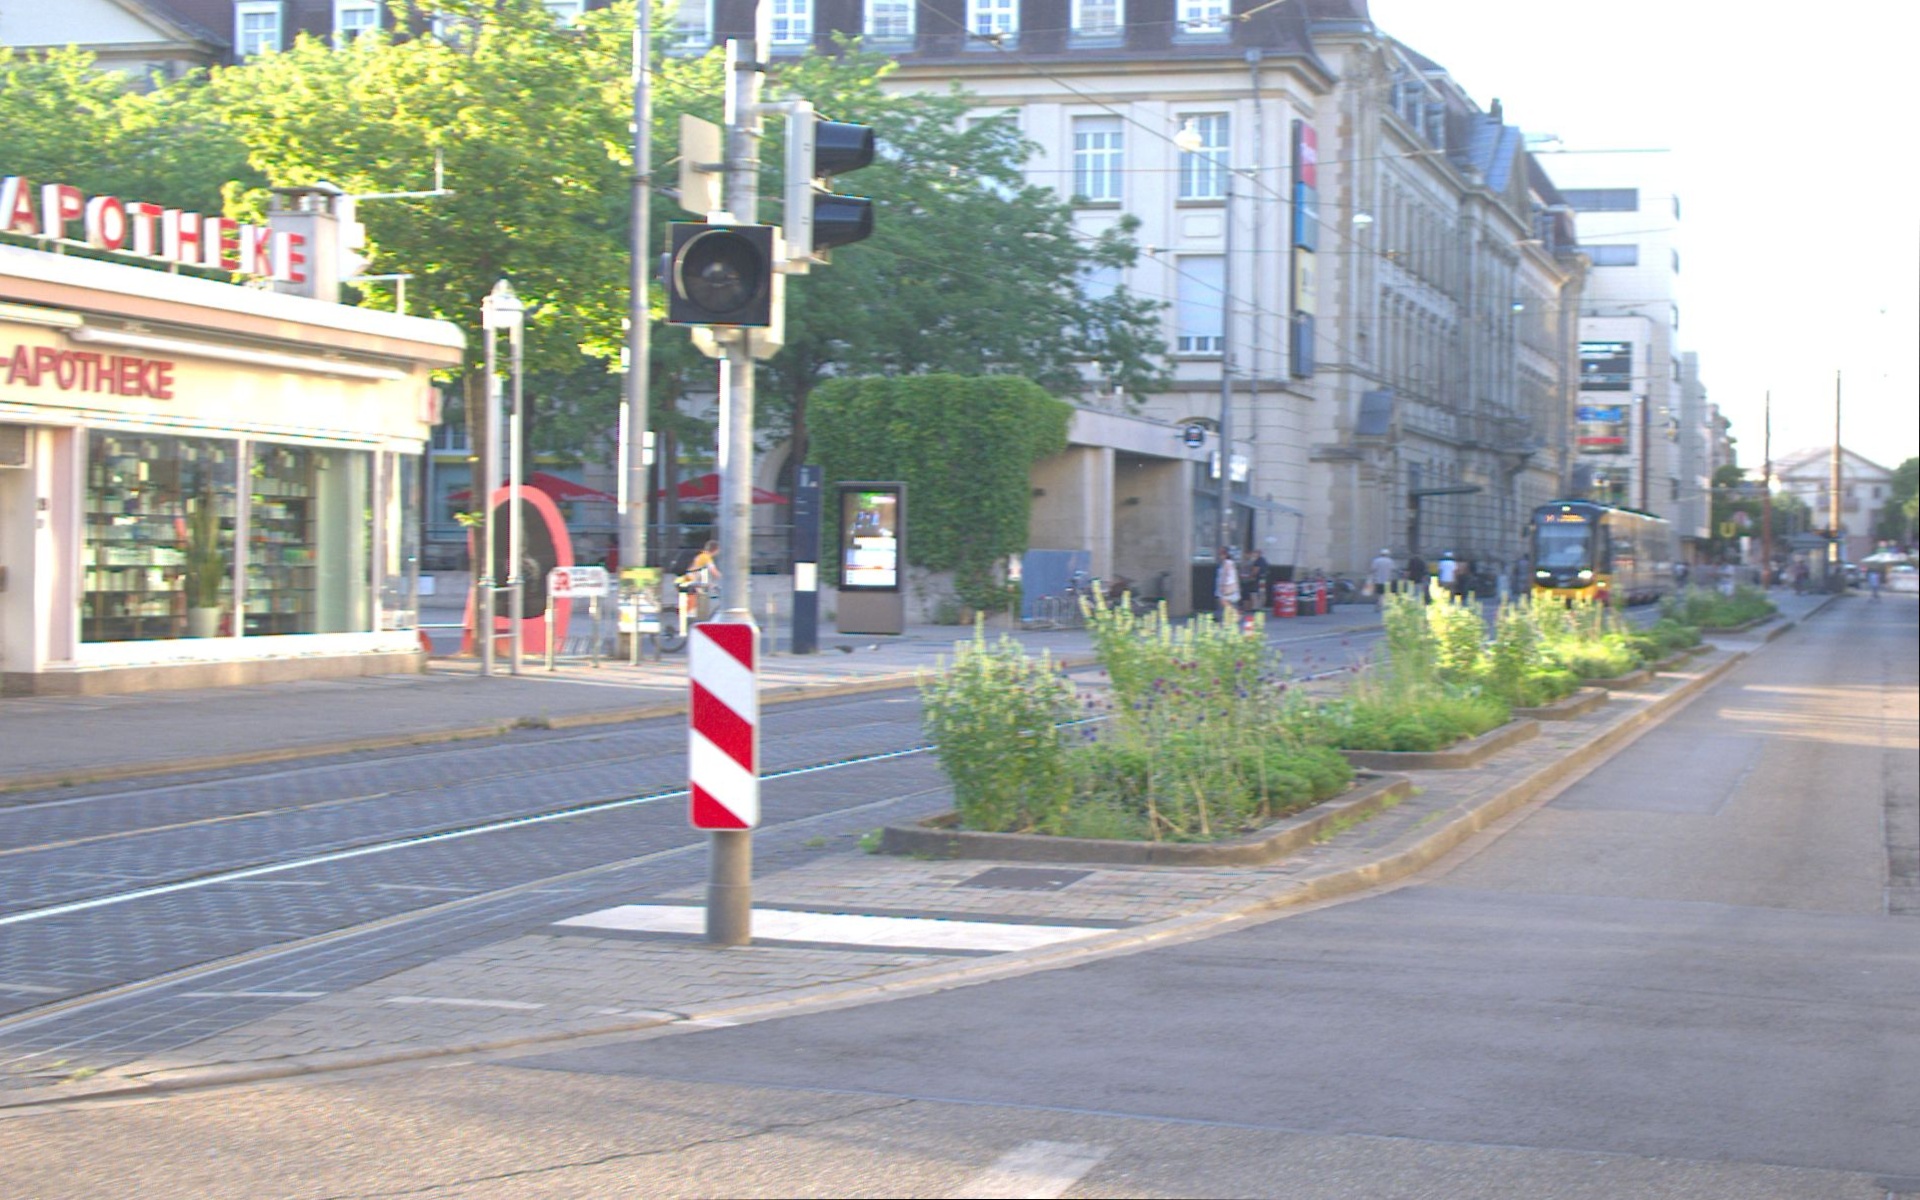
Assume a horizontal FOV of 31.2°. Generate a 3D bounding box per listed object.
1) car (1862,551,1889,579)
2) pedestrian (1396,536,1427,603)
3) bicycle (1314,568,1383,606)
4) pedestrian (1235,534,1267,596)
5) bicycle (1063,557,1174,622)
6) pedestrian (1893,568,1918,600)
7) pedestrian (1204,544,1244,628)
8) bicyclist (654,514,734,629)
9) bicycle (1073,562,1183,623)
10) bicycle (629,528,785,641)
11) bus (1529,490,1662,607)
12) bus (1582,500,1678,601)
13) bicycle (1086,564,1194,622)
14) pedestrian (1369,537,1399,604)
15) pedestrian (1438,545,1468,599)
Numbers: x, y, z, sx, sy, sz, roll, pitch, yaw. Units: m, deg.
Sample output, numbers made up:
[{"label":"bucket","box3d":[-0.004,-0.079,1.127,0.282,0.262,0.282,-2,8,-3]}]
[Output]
[{"label":"car","box3d":[62.198,-2.377,233.570,1.762,1.821,3.567,1,-1,15]},{"label":"pedestrian","box3d":[12.573,-0.842,95.640,0.733,1.834,0.714,1,-1,16]},{"label":"bicycle","box3d":[12.291,-0.416,108.815,2.098,1.144,0.574,1,-1,11]},{"label":"pedestrian","box3d":[7.882,-0.949,93.122,0.714,1.640,0.660,2,1,-6]},{"label":"bicycle","box3d":[3.284,-0.214,71.365,2.198,1.296,0.579,1,-1,16]},{"label":"pedestrian","box3d":[57.761,-0.975,210.078,1.229,1.922,1.022,1,1,0]},{"label":"pedestrian","box3d":[6.197,-0.326,80.550,0.725,1.928,0.792,1,-1,19]},{"label":"bicyclist","box3d":[-4.155,-0.443,53.688,0.929,1.770,0.971,0,1,-28]},{"label":"bicycle","box3d":[3.567,-0.150,72.871,2.243,1.250,0.579,1,-1,16]},{"label":"bicycle","box3d":[-3.950,-0.238,53.805,2.360,1.734,0.603,1,1,-28]},{"label":"bus","box3d":[21.590,-1.715,115.935,2.824,3.639,17.060,1,1,16]},{"label":"bus","box3d":[25.026,-1.868,128.121,2.824,3.612,8.283,1,1,16]},{"label":"bicycle","box3d":[3.901,-0.151,74.455,2.243,1.227,0.584,1,0,16]},{"label":"pedestrian","box3d":[11.808,-0.812,95.724,0.693,1.841,0.661,1,-1,16]},{"label":"pedestrian","box3d":[15.672,-0.887,109.304,0.815,1.701,0.761,1,-1,16]}]
